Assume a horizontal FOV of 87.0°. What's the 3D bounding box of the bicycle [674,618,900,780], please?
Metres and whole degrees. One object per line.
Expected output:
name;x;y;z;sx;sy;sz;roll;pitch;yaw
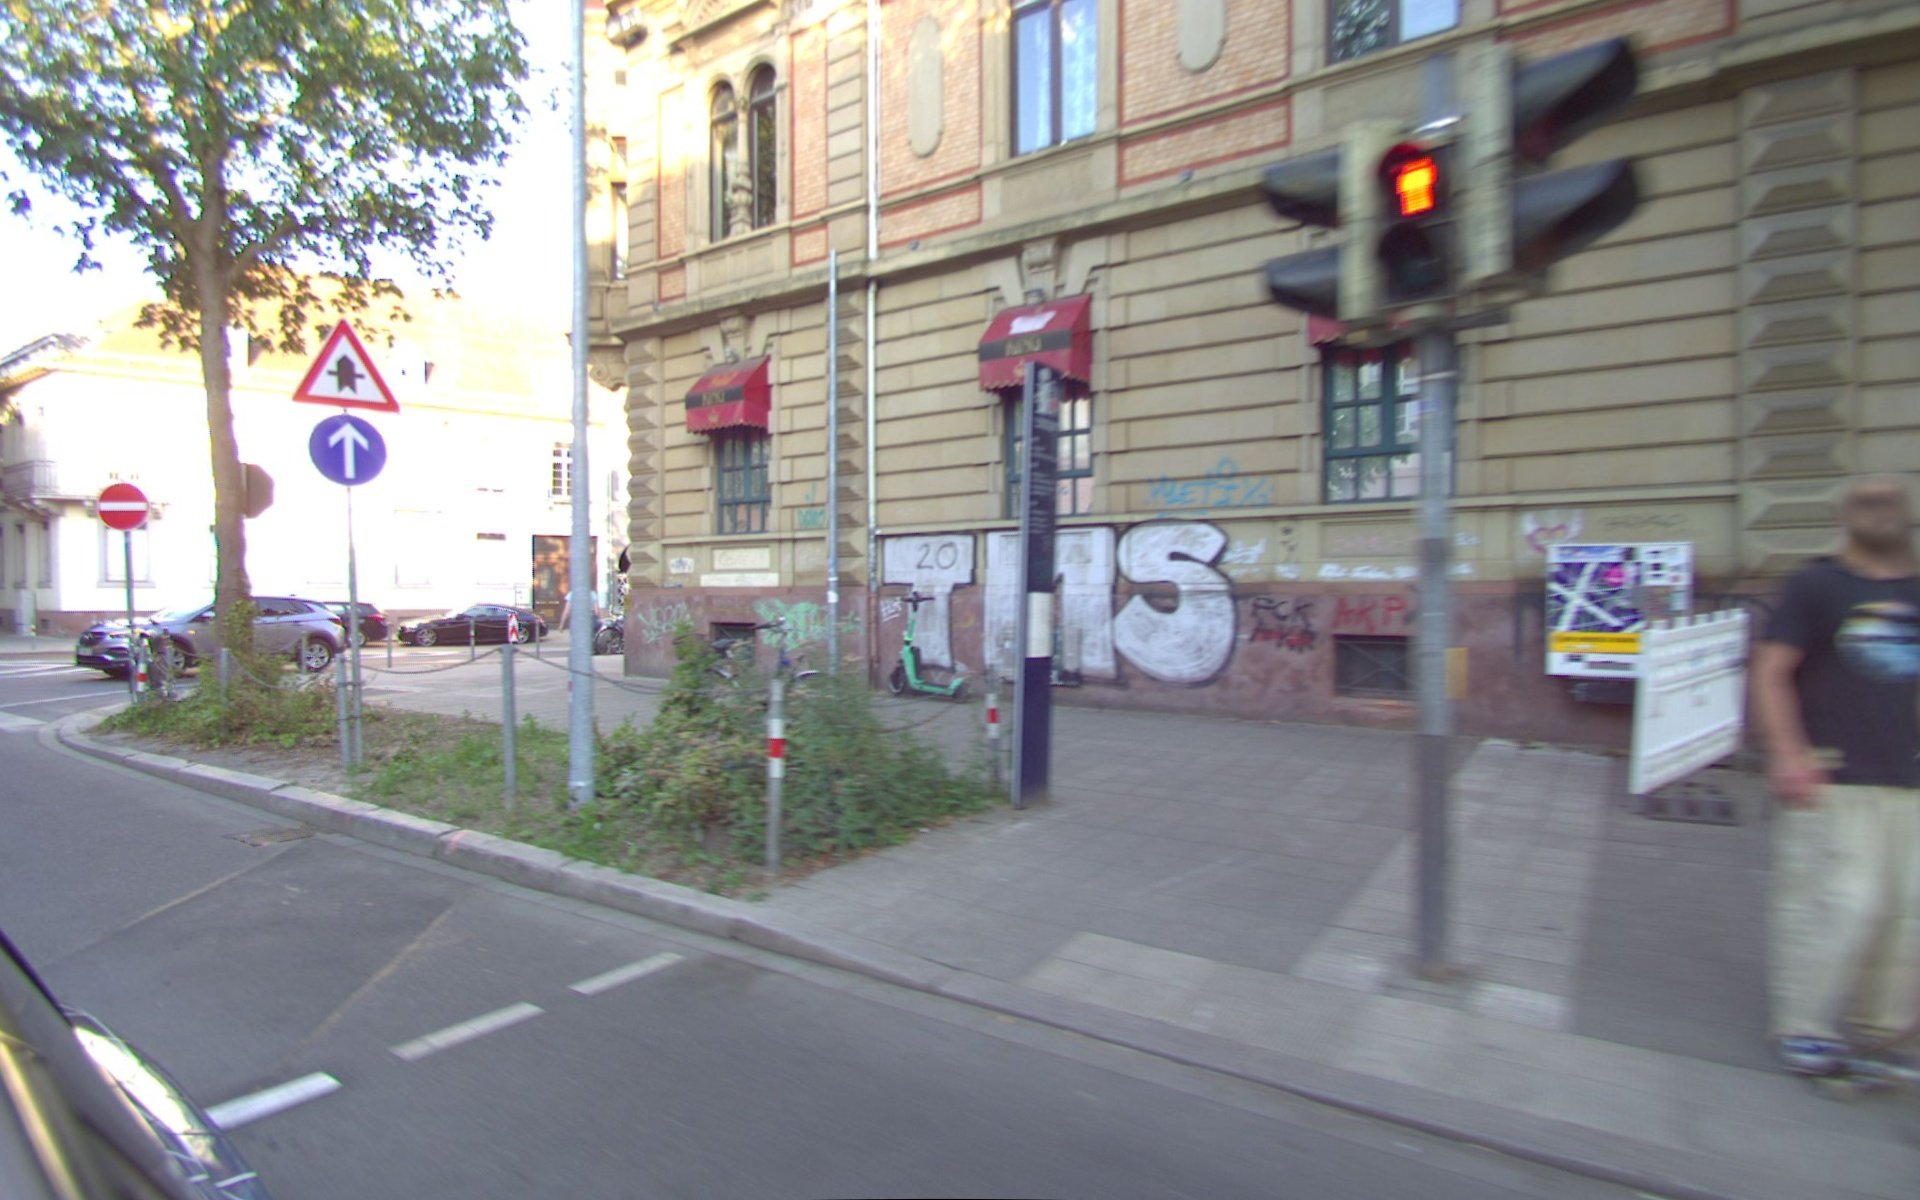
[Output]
bicycle;-1.367;0.715;7.850;1.792;1.116;0.495;0;2;29

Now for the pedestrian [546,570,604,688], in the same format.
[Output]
pedestrian;-5.411;0.393;14.269;0.643;1.577;0.909;-3;1;-18

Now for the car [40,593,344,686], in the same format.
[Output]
car;-14.741;0.685;19.727;1.938;1.582;4.321;1;0;26

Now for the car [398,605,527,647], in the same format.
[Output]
car;-16.627;0.835;33.862;3.751;1.335;1.839;0;0;-30

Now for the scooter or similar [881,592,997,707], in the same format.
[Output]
scooter or similar;-0.244;0.547;11.296;1.270;1.207;0.380;-2;1;36

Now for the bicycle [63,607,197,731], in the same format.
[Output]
bicycle;-9.518;0.741;11.708;0.793;1.234;2.424;-4;1;-31

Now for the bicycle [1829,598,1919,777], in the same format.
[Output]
bicycle;6.673;0.555;6.353;1.795;1.116;0.494;0;3;34

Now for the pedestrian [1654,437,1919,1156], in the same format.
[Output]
pedestrian;2.716;0.468;2.933;0.755;1.790;0.832;-3;1;-2

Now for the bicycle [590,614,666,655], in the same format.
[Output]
bicycle;-8.075;0.838;24.635;1.734;0.979;0.539;0;-3;-16

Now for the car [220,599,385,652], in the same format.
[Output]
car;-20.386;0.743;31.557;4.198;1.541;1.839;0;0;-32
